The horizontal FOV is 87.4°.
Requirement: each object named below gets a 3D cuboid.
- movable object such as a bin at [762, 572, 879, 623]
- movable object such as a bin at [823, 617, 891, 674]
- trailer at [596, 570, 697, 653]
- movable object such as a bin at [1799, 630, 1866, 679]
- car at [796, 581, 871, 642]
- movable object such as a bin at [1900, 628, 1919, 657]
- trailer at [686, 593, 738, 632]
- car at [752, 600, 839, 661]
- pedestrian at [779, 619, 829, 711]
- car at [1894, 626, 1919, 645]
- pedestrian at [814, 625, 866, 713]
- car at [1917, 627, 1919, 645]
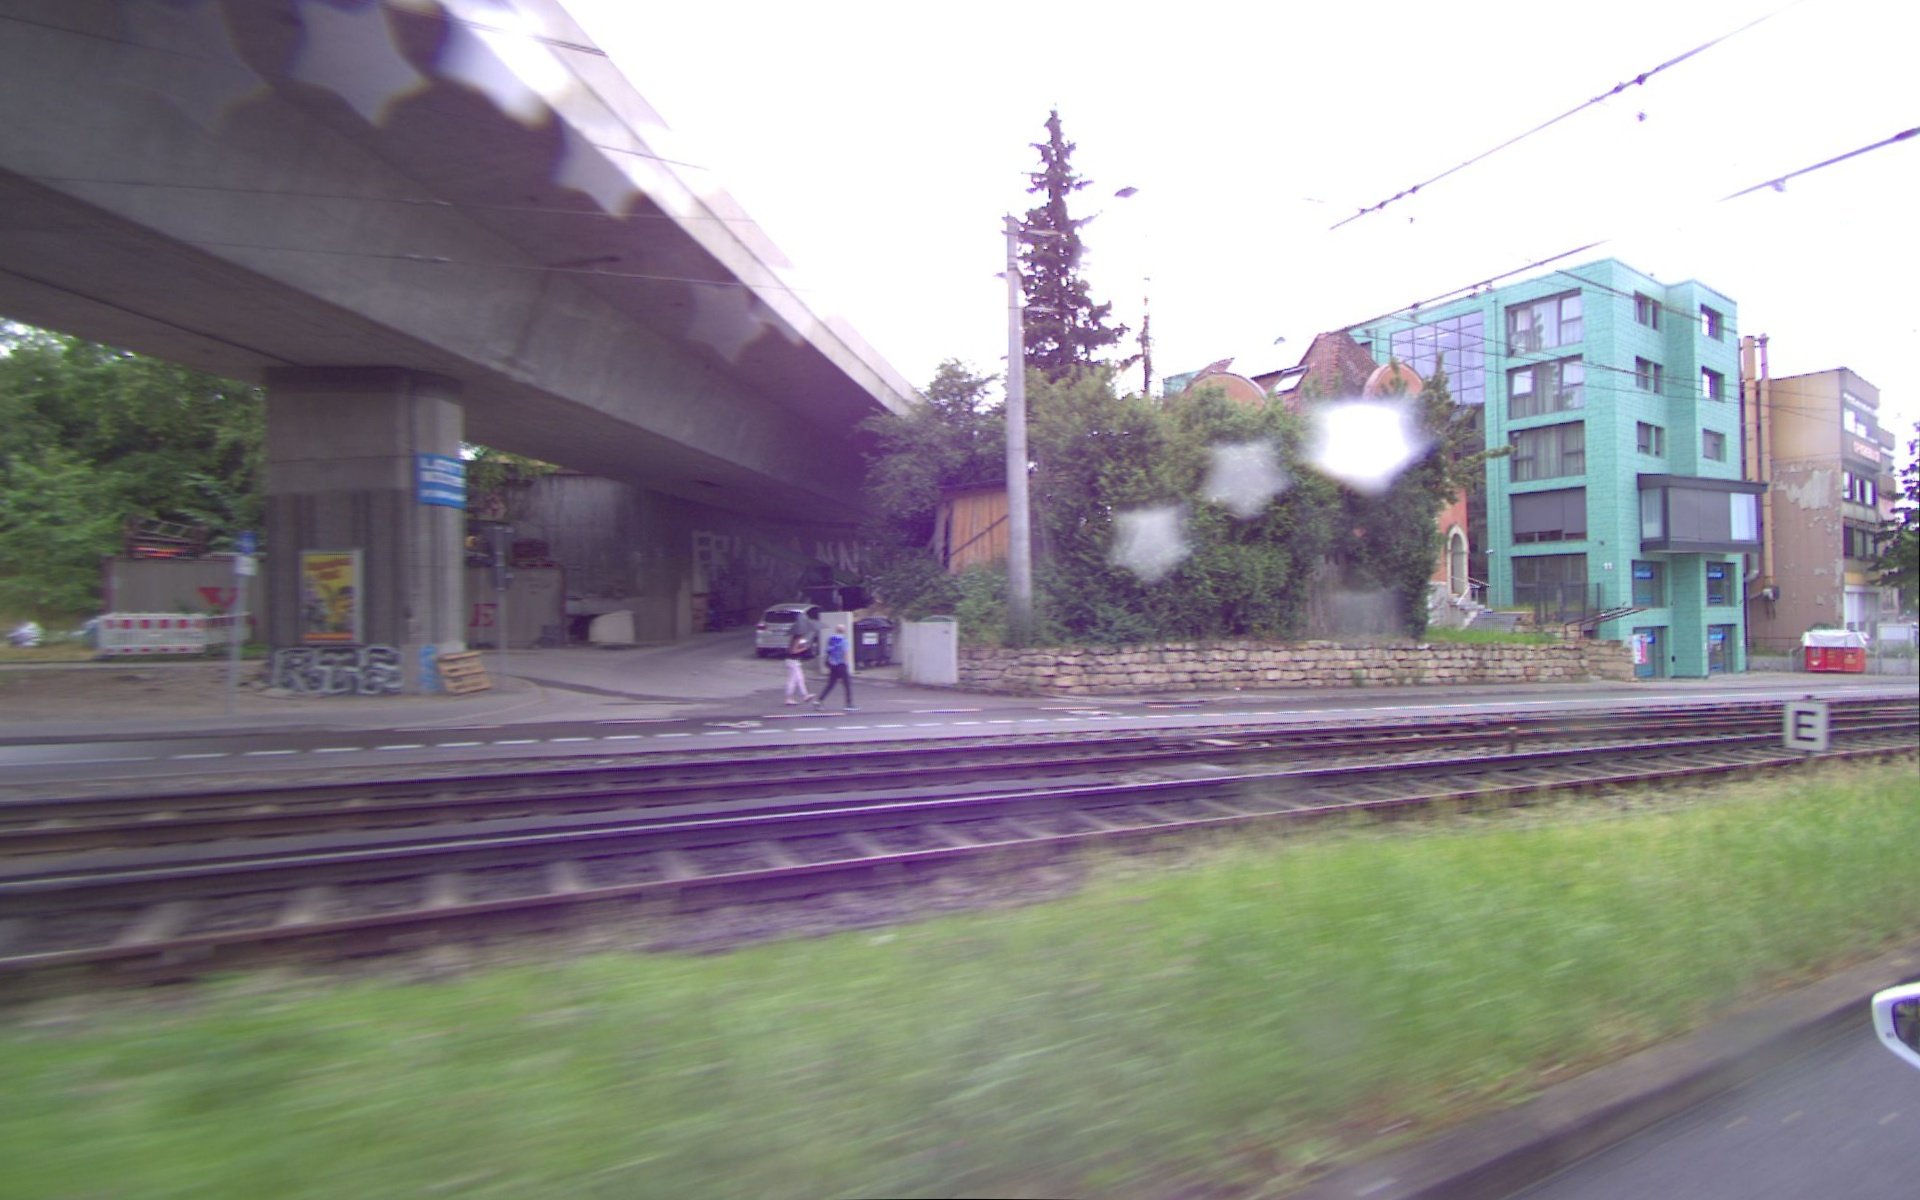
[{"bbox_3d":[-7.153,-0.112,51.731,5.397,2.486,2.614,1,0,-30],"label":"movable object such as a bin"},{"bbox_3d":[-2.892,1.273,28.483,1.530,1.499,1.803,0,1,7],"label":"movable object such as a bin"},{"bbox_3d":[-11.089,0.412,35.843,1.960,2.761,4.125,1,-1,5],"label":"trailer"},{"bbox_3d":[42.733,2.638,49.232,1.785,2.186,2.119,0,1,-36],"label":"movable object such as a bin"},{"bbox_3d":[-4.534,0.369,36.356,1.761,2.067,3.199,2,2,11],"label":"car"},{"bbox_3d":[69.654,3.070,72.660,3.540,1.945,1.977,0,1,-39],"label":"movable object such as a bin"},{"bbox_3d":[-10.826,0.556,44.123,1.964,1.617,3.992,1,-1,-11],"label":"trailer"},{"bbox_3d":[-5.076,0.912,31.397,1.685,1.690,3.199,2,2,11],"label":"car"},{"bbox_3d":[-3.235,1.321,20.811,0.855,1.855,0.691,0,0,-28],"label":"pedestrian"},{"bbox_3d":[78.221,2.946,81.211,3.716,1.473,1.546,1,0,37],"label":"car"},{"bbox_3d":[-2.401,1.356,20.081,0.876,1.692,0.691,0,0,-25],"label":"pedestrian"},{"bbox_3d":[81.908,3.070,83.100,3.716,1.499,1.569,1,0,37],"label":"car"}]
